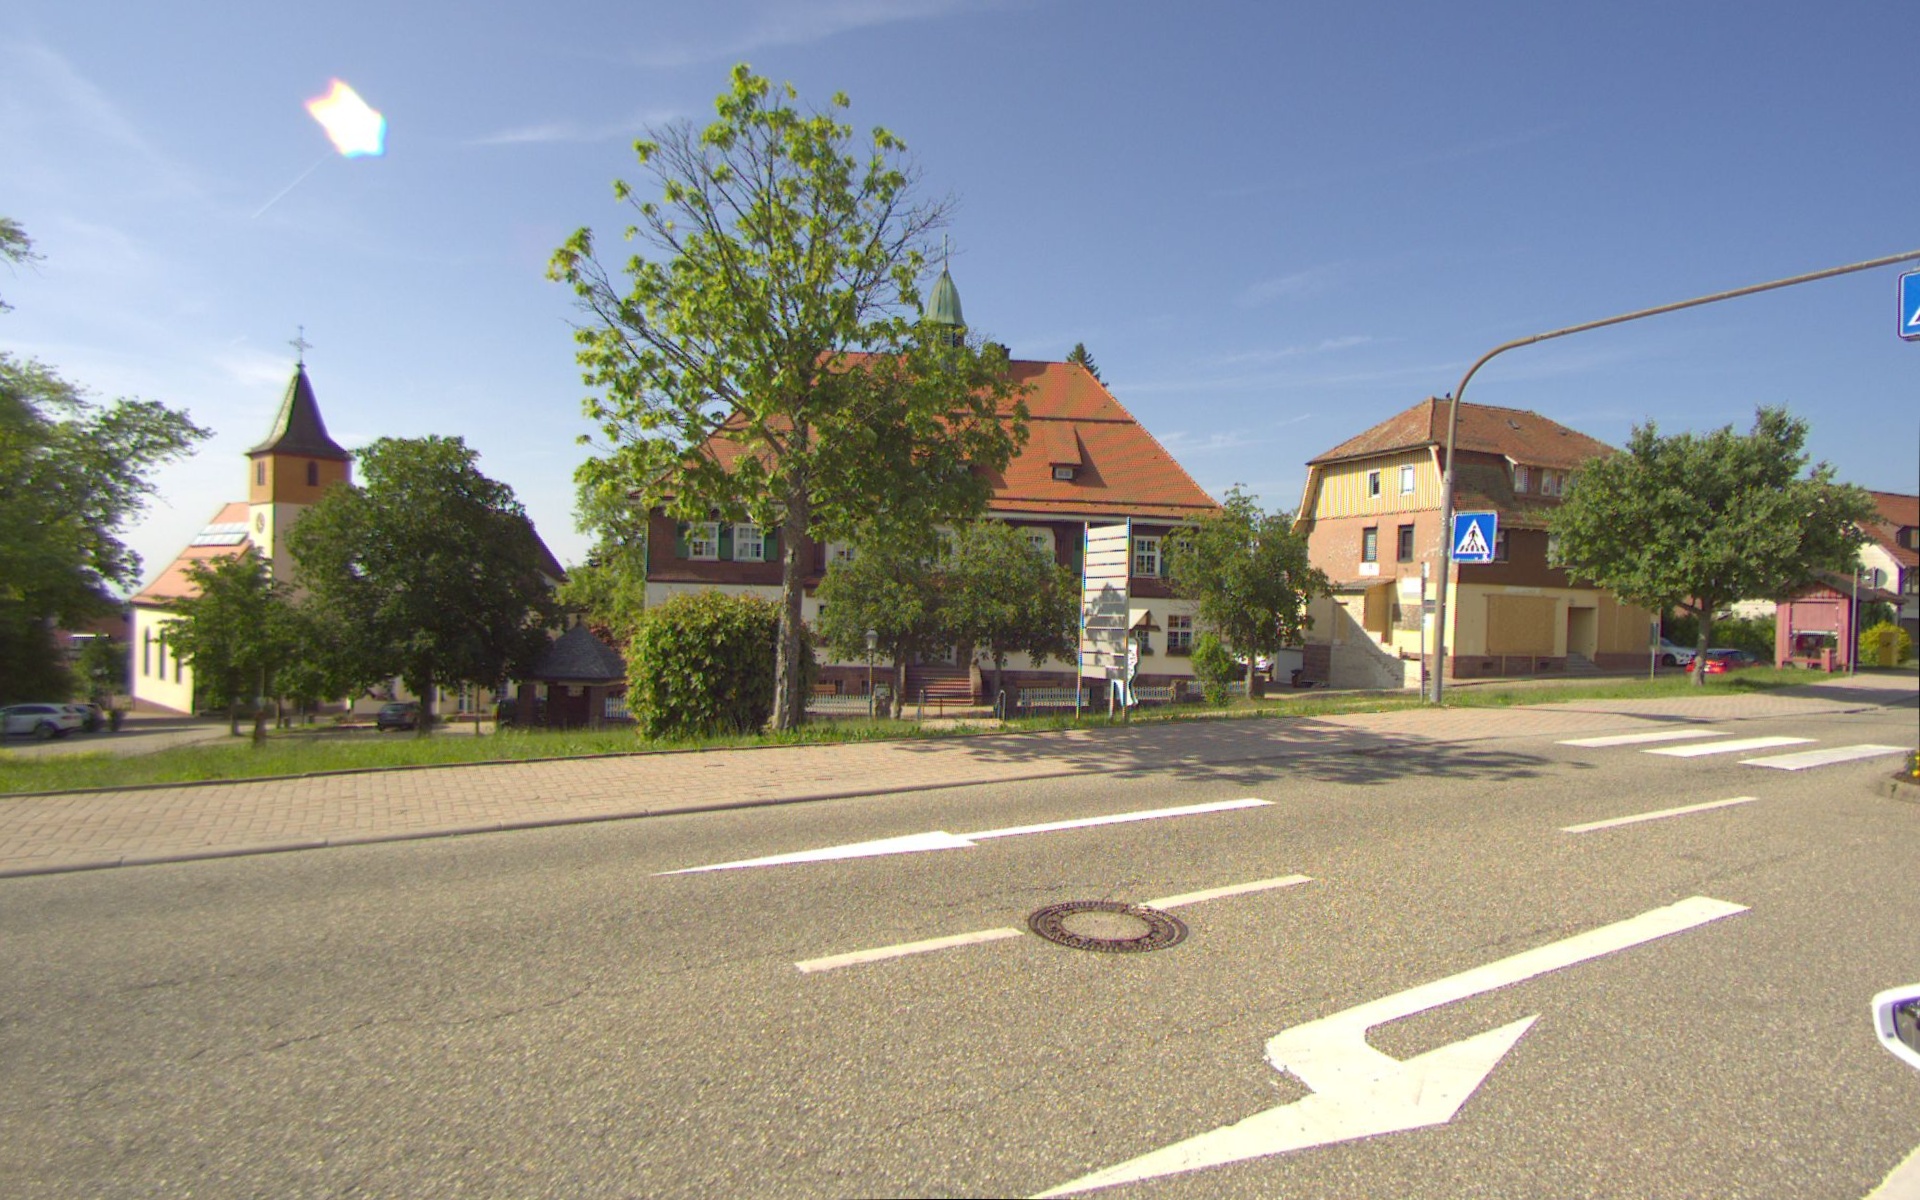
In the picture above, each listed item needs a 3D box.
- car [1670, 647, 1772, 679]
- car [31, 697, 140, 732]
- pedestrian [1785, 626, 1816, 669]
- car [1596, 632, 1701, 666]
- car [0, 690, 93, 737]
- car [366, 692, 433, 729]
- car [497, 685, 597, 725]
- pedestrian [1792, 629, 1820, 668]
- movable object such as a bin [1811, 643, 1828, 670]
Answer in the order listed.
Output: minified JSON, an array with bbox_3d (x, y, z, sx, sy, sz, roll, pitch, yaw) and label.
[{"bbox_3d":[32.918,2.719,43.437,3.940,1.314,1.718,1,-2,-21],"label":"car"},{"bbox_3d":[-47.160,6.157,54.289,3.944,1.684,1.989,1,-4,-24],"label":"car"},{"bbox_3d":[27.873,1.561,33.299,0.668,1.382,0.613,0,-2,-37],"label":"pedestrian"},{"bbox_3d":[36.669,2.590,53.583,1.776,1.531,4.288,3,-1,-25],"label":"car"},{"bbox_3d":[-43.781,5.336,47.304,3.944,2.039,1.989,1,-4,-24],"label":"car"},{"bbox_3d":[-28.659,5.637,51.516,1.966,1.639,3.990,0,-3,-14],"label":"car"},{"bbox_3d":[-16.769,4.260,40.897,3.436,1.485,1.577,0,-2,-6],"label":"car"},{"bbox_3d":[28.335,1.623,33.638,0.420,1.269,0.624,2,-3,-38],"label":"pedestrian"},{"bbox_3d":[26.577,1.745,31.054,0.481,0.848,0.302,2,-2,-38],"label":"movable object such as a bin"}]
